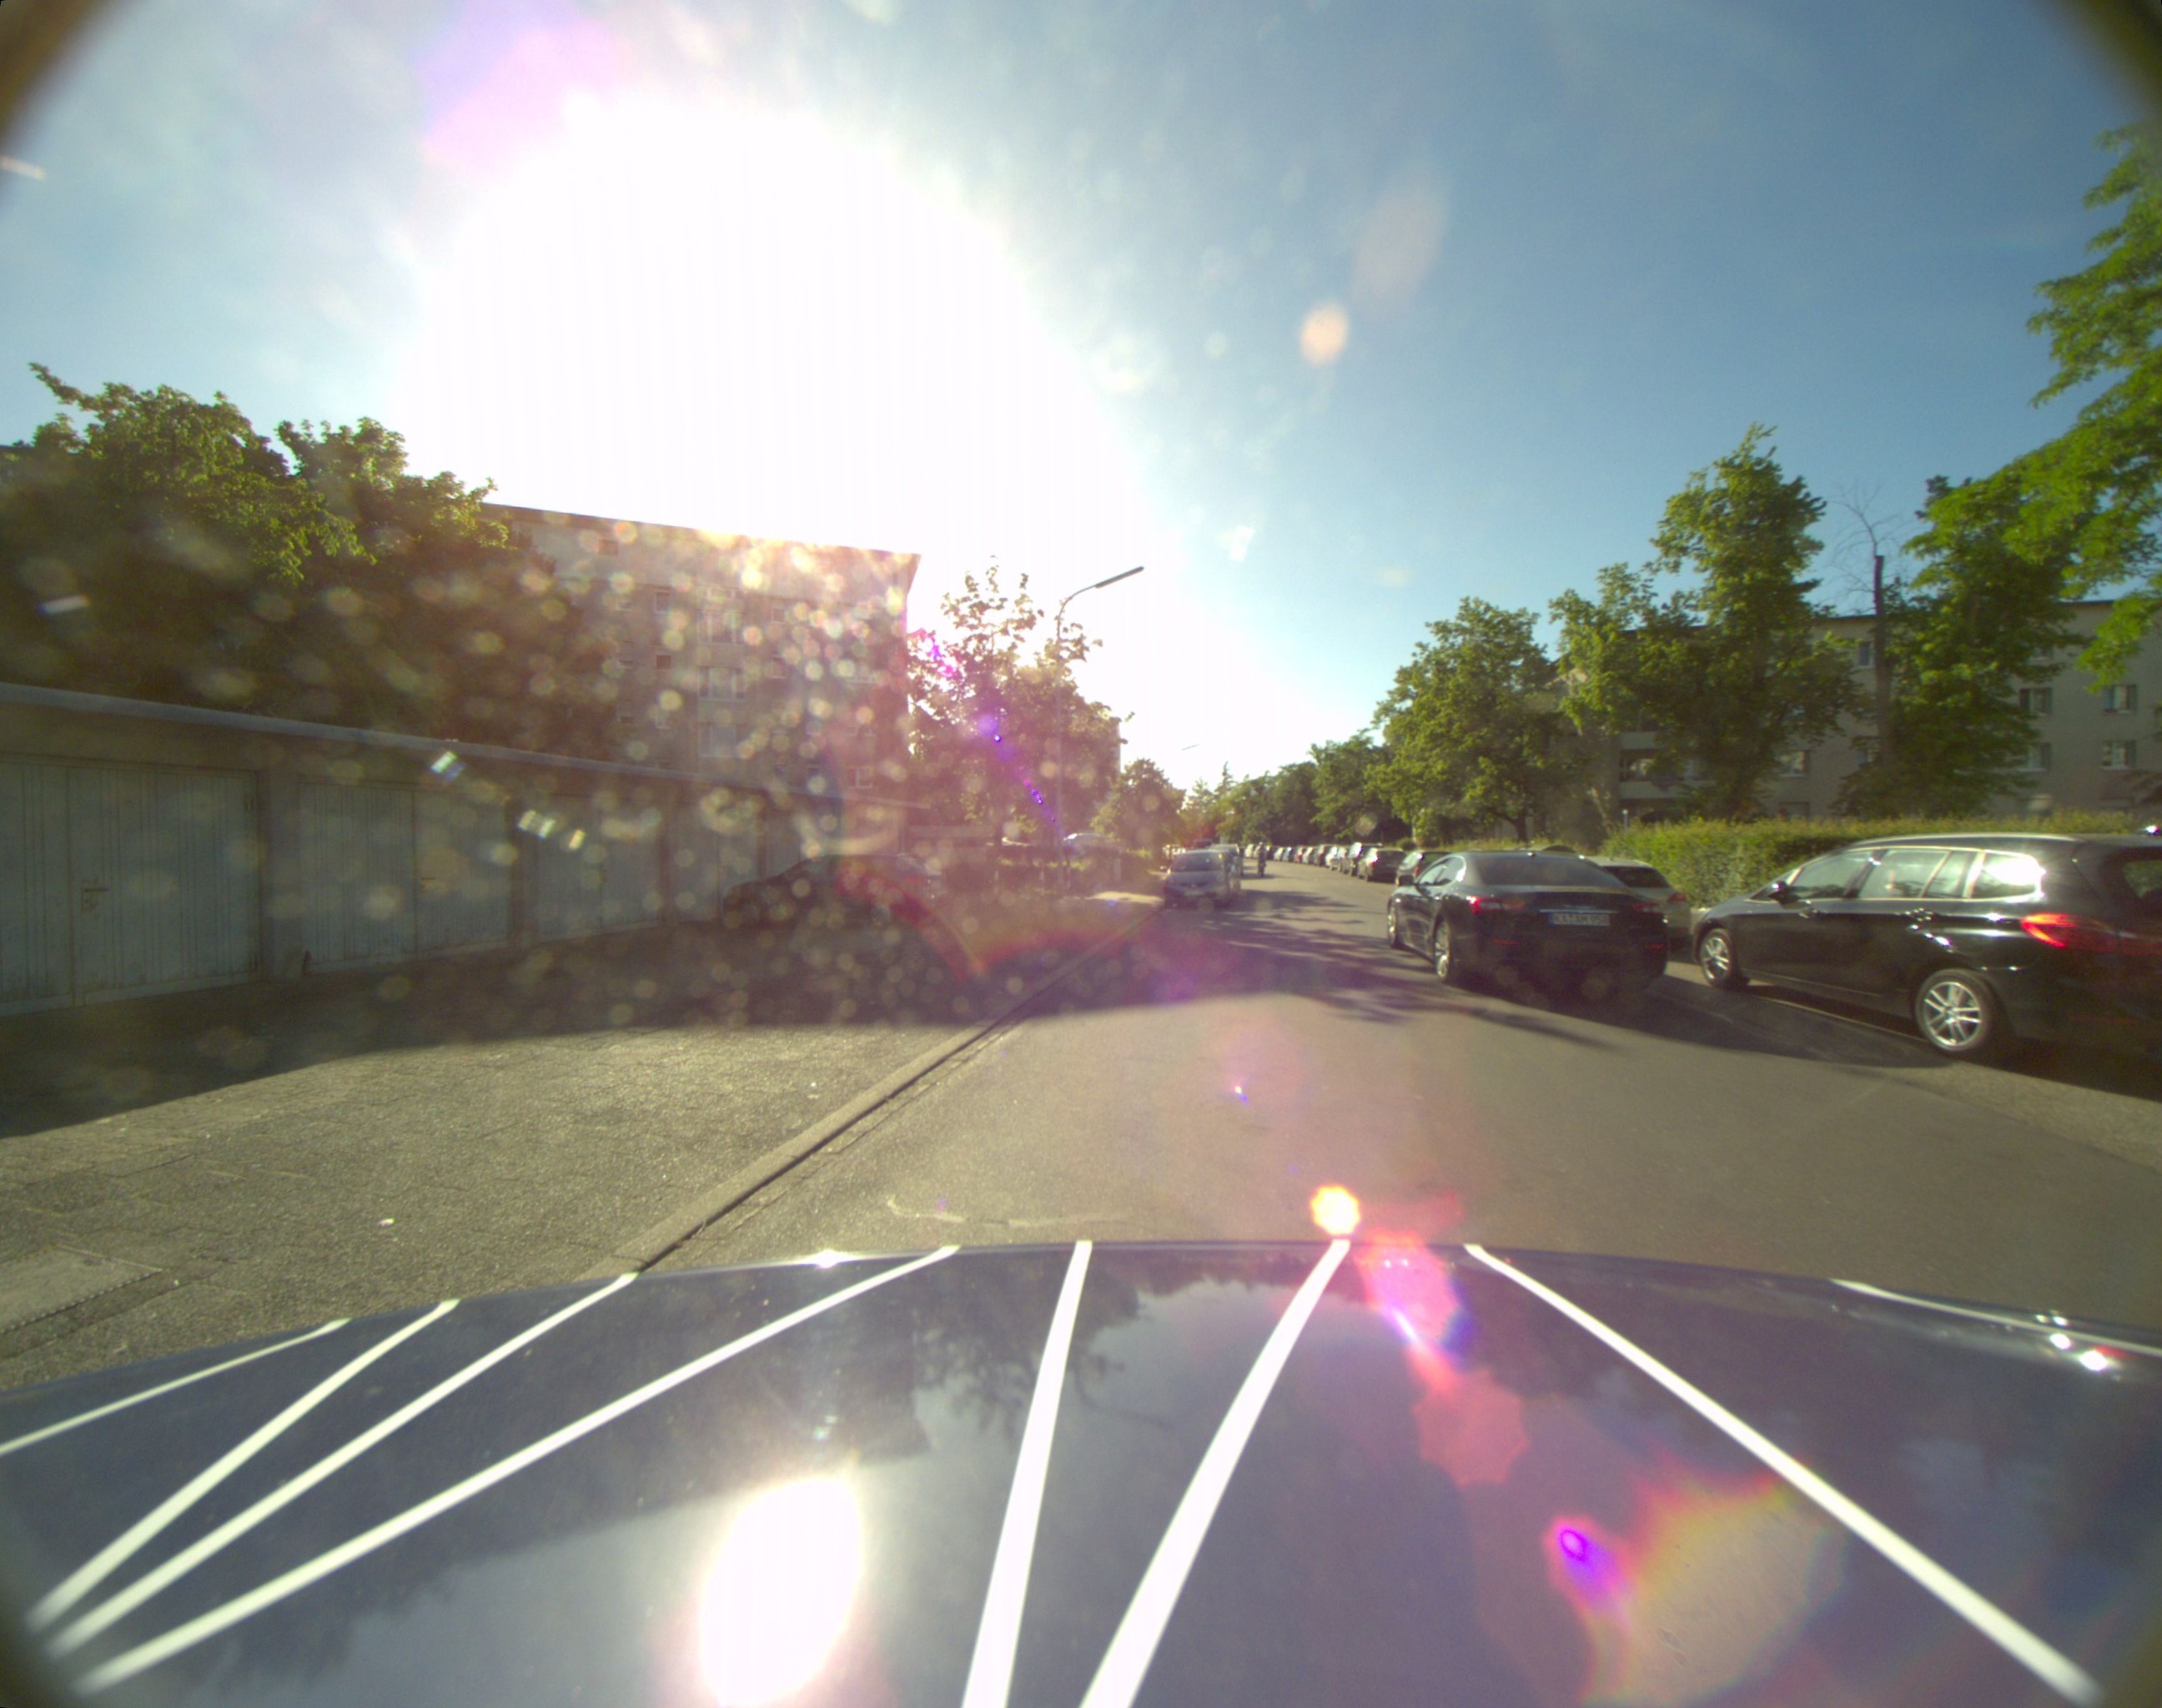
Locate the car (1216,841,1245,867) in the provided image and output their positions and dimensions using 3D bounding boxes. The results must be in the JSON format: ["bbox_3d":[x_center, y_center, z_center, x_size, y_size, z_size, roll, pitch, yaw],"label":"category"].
[{"bbox_3d":[10.078,-0.004,51.375,1.757,1.664,4.415,-1,1,9],"label":"car"}]

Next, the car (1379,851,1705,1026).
[{"bbox_3d":[4.958,0.729,9.039,1.913,1.468,4.574,0,1,12],"label":"car"}]

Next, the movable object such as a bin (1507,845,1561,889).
[{"bbox_3d":[15.072,0.428,25.326,1.121,1.358,1.258,-3,1,11],"label":"movable object such as a bin"}]

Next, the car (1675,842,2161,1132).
[{"bbox_3d":[7.145,0.738,6.274,1.757,1.626,4.374,2,1,13],"label":"car"}]

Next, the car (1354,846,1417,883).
[{"bbox_3d":[13.204,0.397,33.218,1.757,1.377,4.677,1,2,12],"label":"car"}]

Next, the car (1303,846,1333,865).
[{"bbox_3d":[19.439,0.102,62.365,1.809,1.470,3.943,1,1,10],"label":"car"}]

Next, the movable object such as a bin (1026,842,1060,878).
[{"bbox_3d":[-1.679,0.249,33.567,1.327,1.528,1.030,-1,1,7],"label":"movable object such as a bin"}]

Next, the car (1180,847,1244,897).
[{"bbox_3d":[4.550,0.548,25.874,1.833,1.537,4.645,-1,1,14],"label":"car"}]

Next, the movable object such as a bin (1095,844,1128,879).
[{"bbox_3d":[1.335,0.318,33.050,1.327,1.420,1.070,2,1,7],"label":"movable object such as a bin"}]

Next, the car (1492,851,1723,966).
[{"bbox_3d":[8.397,0.743,12.620,1.756,1.417,4.214,2,2,15],"label":"car"}]

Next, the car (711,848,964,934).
[{"bbox_3d":[-4.560,0.665,14.524,4.189,1.486,1.819,-1,1,10],"label":"car"}]

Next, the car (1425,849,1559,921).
[{"bbox_3d":[10.030,0.646,18.988,1.756,1.481,4.906,3,1,15],"label":"car"}]

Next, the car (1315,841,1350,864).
[{"bbox_3d":[18.361,-0.139,55.639,1.809,1.596,4.435,1,1,11],"label":"car"}]

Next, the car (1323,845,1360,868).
[{"bbox_3d":[17.028,0.126,49.821,1.757,1.428,4.154,1,1,12],"label":"car"}]

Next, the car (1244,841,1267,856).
[{"bbox_3d":[22.697,-0.738,99.027,1.884,1.858,5.439,1,1,3],"label":"car"}]

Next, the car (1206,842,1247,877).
[{"bbox_3d":[7.387,0.235,38.215,1.757,1.618,4.499,-1,1,14],"label":"car"}]

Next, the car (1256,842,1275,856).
[{"bbox_3d":[22.614,-0.594,93.064,1.657,1.621,3.691,1,1,5],"label":"car"}]

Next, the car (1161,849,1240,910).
[{"bbox_3d":[3.394,0.650,21.018,1.807,1.486,3.799,-1,1,14],"label":"car"}]

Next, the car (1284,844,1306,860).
[{"bbox_3d":[21.014,-0.214,74.575,1.656,1.470,3.107,1,1,8],"label":"car"}]

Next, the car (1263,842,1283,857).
[{"bbox_3d":[21.985,-0.517,86.966,1.656,1.621,4.073,1,1,7],"label":"car"}]

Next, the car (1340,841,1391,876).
[{"bbox_3d":[14.471,0.179,38.798,1.757,1.659,4.393,1,1,12],"label":"car"}]

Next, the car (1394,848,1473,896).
[{"bbox_3d":[11.832,0.557,25.717,1.651,1.455,3.498,1,1,12],"label":"car"}]

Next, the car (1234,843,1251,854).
[{"bbox_3d":[23.615,-0.859,111.105,1.657,1.558,3.690,1,1,2],"label":"car"}]

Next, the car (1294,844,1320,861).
[{"bbox_3d":[20.066,-0.146,67.495,1.634,1.470,3.881,1,1,8],"label":"car"}]

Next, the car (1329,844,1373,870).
[{"bbox_3d":[15.593,0.154,44.120,1.641,1.377,4.173,1,1,9],"label":"car"}]

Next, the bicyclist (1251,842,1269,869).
[{"bbox_3d":[8.886,0.066,37.665,0.811,1.348,1.092,-1,1,14],"label":"bicyclist"}]

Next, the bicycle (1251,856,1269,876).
[{"bbox_3d":[8.965,0.590,37.986,0.823,0.896,2.205,-1,1,14],"label":"bicycle"}]

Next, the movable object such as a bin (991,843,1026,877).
[{"bbox_3d":[-3.214,0.266,33.614,1.324,1.472,1.030,-1,1,7],"label":"movable object such as a bin"}]

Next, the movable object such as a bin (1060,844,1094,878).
[{"bbox_3d":[-0.158,0.289,33.203,1.327,1.423,1.030,-1,1,7],"label":"movable object such as a bin"}]

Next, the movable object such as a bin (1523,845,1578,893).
[{"bbox_3d":[14.696,0.444,23.826,1.003,1.407,1.327,-3,1,11],"label":"movable object such as a bin"}]

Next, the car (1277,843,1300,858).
[{"bbox_3d":[21.712,-0.367,79.645,1.657,1.470,3.736,1,1,5],"label":"car"}]

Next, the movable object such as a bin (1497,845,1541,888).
[{"bbox_3d":[15.359,0.413,26.656,0.896,1.407,1.327,-3,1,11],"label":"movable object such as a bin"}]
